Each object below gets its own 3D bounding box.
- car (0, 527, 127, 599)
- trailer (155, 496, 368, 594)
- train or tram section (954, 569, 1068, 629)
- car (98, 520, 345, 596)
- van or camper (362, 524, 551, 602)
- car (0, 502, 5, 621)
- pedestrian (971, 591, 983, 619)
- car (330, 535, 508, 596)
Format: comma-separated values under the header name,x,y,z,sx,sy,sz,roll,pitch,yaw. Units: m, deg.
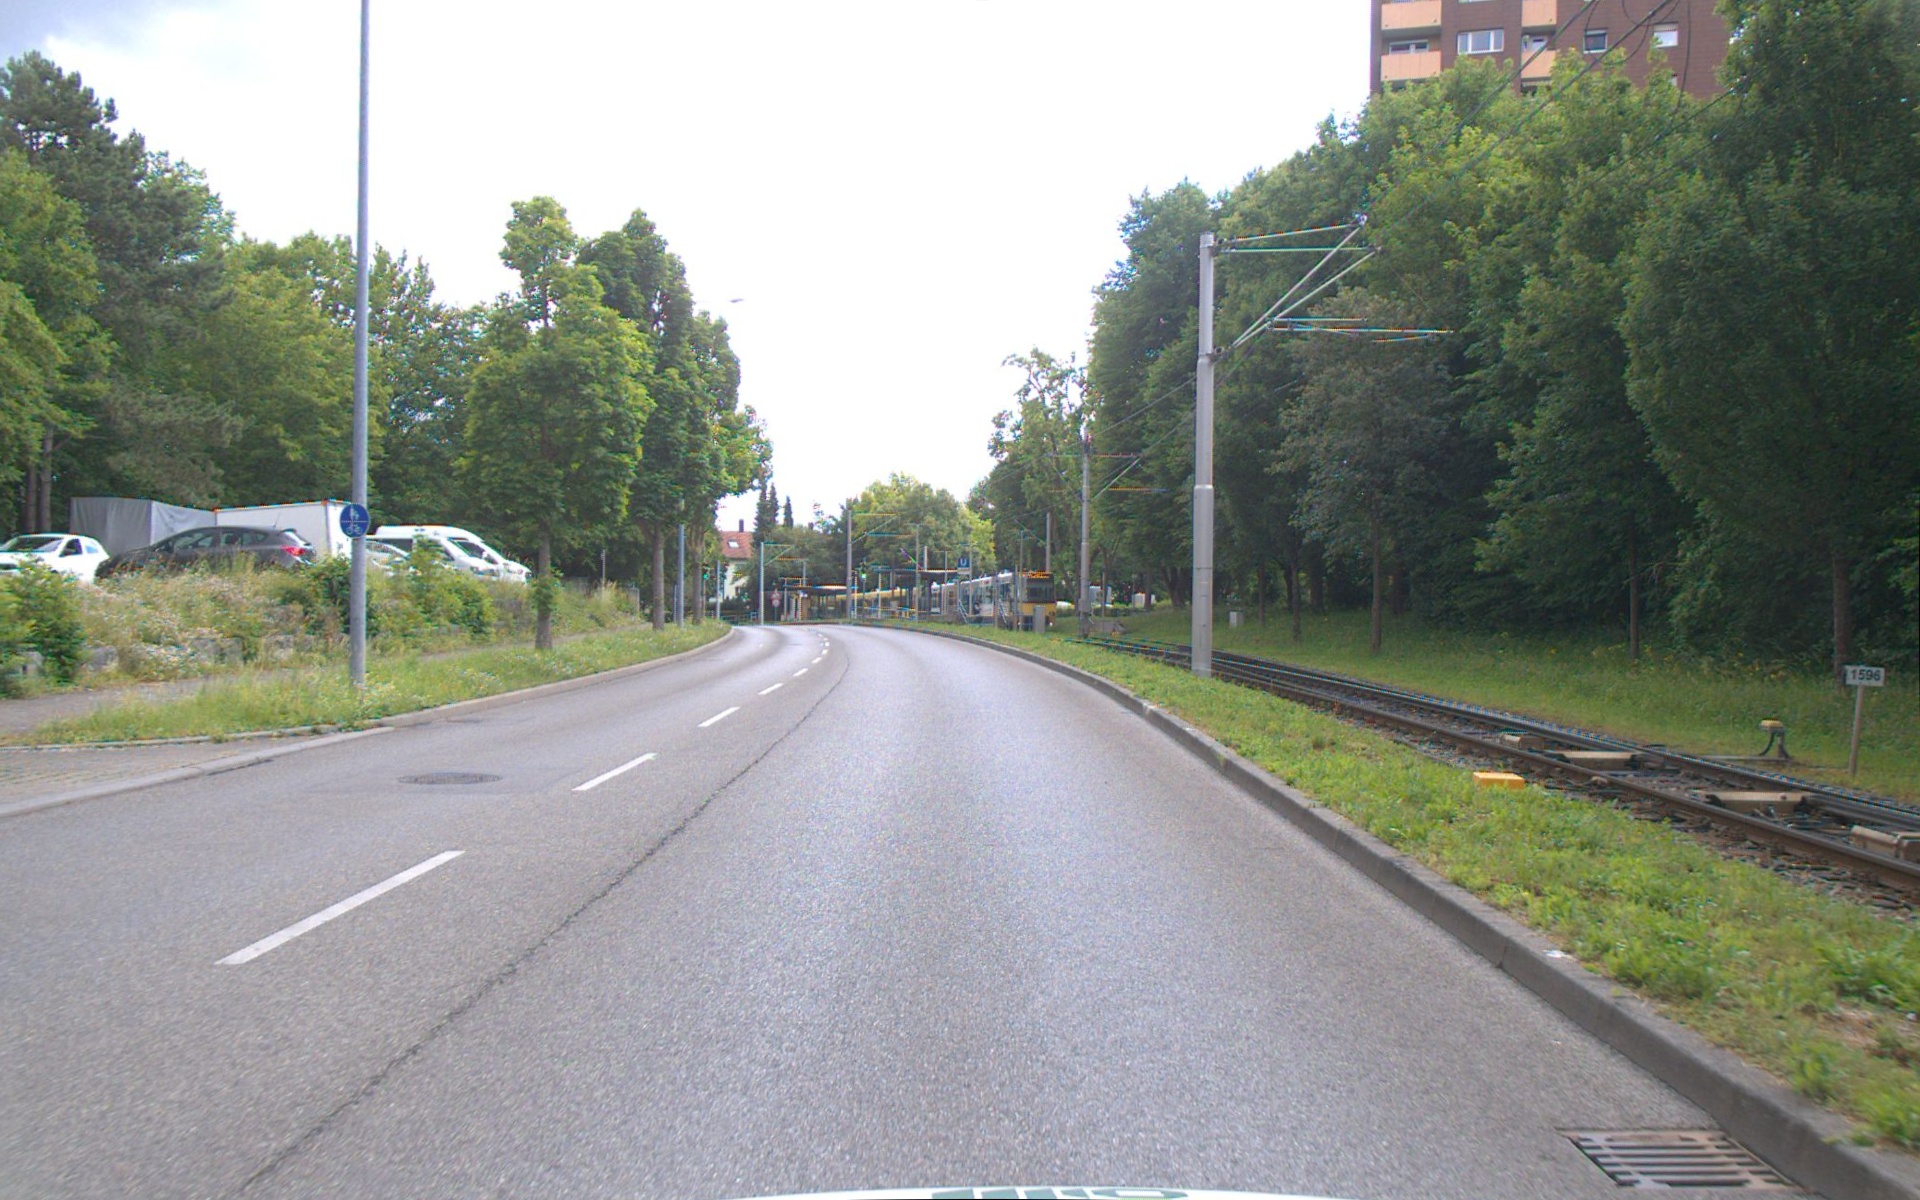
name,x,y,z,sx,sy,sz,roll,pitch,yaw
car,-21.680,-0.850,39.294,1.847,1.612,3.665,1,0,1
trailer,-15.553,-1.204,36.968,3.906,2.049,1.908,1,0,-1
train or tram section,2.856,-0.123,112.221,2.950,3.368,34.664,1,0,-6
car,-15.074,-0.846,33.947,4.229,1.474,1.833,-1,0,-7
van or camper,-15.592,-1.132,51.410,5.227,2.241,1.999,1,0,-4
car,-15.360,-0.563,21.251,4.829,1.612,2.205,1,0,-5
pedestrian,0.903,0.251,88.048,0.557,1.490,0.594,1,0,-8
car,-15.924,-1.010,48.854,4.545,1.685,2.001,1,0,4
